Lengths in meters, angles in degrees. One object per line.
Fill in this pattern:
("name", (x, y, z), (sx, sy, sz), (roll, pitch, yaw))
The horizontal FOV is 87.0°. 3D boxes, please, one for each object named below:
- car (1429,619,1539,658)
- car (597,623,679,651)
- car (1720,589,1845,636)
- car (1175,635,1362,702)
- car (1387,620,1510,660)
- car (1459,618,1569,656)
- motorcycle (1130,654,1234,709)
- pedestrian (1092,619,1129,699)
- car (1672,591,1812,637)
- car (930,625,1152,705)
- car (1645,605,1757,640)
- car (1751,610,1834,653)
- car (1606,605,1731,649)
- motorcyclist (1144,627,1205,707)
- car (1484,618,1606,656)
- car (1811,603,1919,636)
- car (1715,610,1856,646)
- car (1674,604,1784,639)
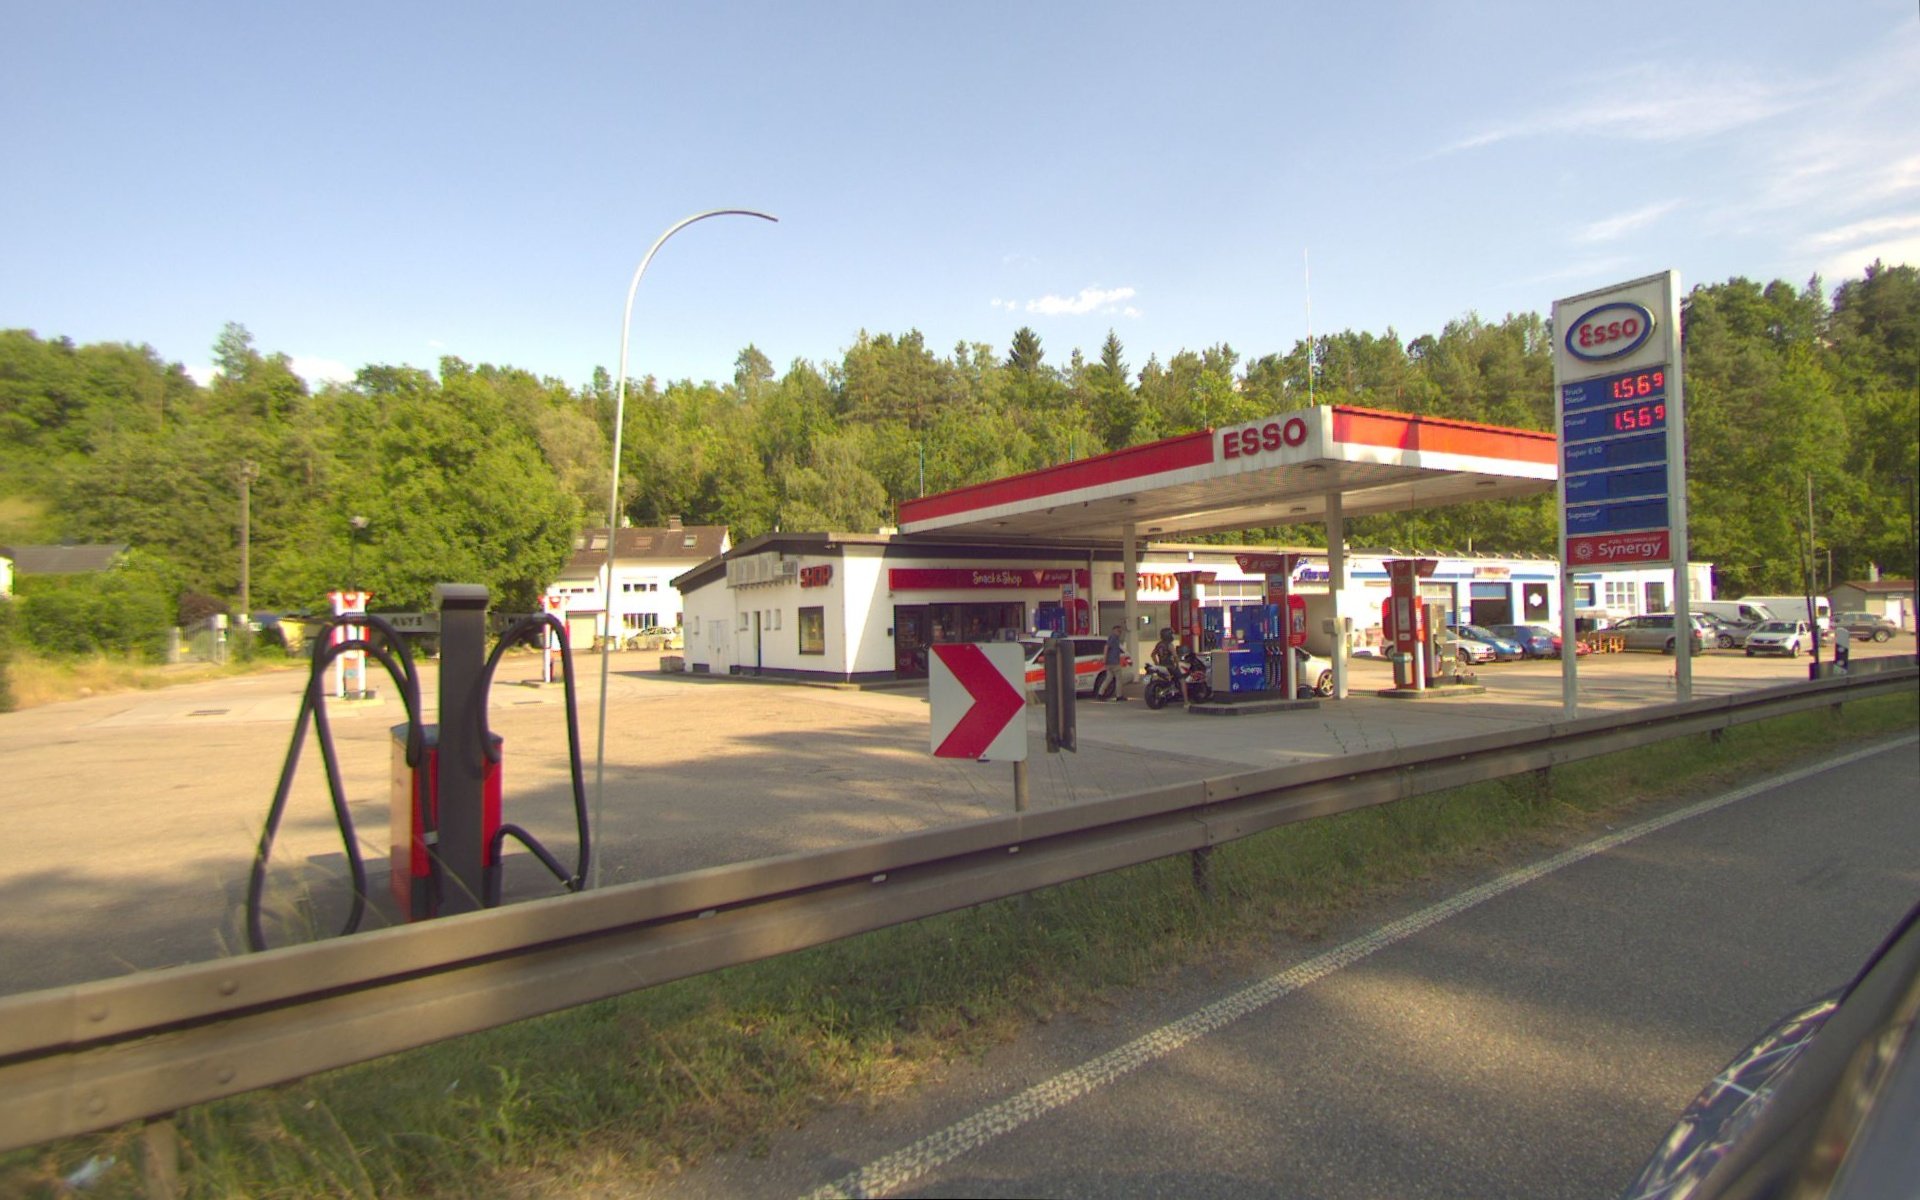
("car", (20.899, 1.510, 40.495), (1.657, 1.424, 3.563), (0, -1, -31))
("car", (-22.605, 2.597, 71.181), (5.063, 1.860, 2.703), (-1, -2, -5))
("car", (45.206, 0.617, 55.738), (2.165, 2.480, 4.925), (0, 1, -33))
("car", (7.355, 1.569, 24.016), (4.303, 1.336, 1.849), (0, -1, -32))
("car", (18.872, 1.506, 39.213), (1.743, 1.372, 3.969), (0, 0, -35))
("car", (22.746, 1.499, 41.662), (1.700, 1.464, 3.557), (0, -1, -31))
("motorcycle", (4.775, 1.714, 21.657), (2.295, 1.025, 0.764), (0, -1, -32))
("pedestrian", (3.488, 1.344, 23.425), (0.606, 1.800, 0.706), (-1, -2, -10))
("car", (41.769, 0.704, 54.191), (2.250, 2.303, 5.496), (0, 1, -32))
("car", (1.987, 1.470, 24.232), (5.079, 1.649, 2.100), (0, -1, -33))
("car", (37.803, 1.118, 51.716), (1.857, 1.631, 4.257), (0, 0, -31))
("car", (35.372, 1.291, 42.986), (3.914, 1.616, 1.796), (0, 1, -36))
("car", (31.905, 1.159, 45.685), (1.856, 1.750, 4.263), (0, 1, -34))
("motorcyclist", (4.568, 1.404, 21.545), (0.909, 1.625, 0.861), (0, -2, -32))
("car", (24.579, 1.513, 42.659), (1.857, 1.365, 4.083), (0, 1, -31))
("car", (50.338, 1.065, 56.148), (4.346, 1.691, 1.931), (1, 0, 18))
("car", (38.348, 1.261, 47.123), (1.919, 1.452, 4.737), (0, 1, -33))
("car", (39.994, 1.064, 52.748), (1.887, 1.630, 4.176), (0, 1, -31))
